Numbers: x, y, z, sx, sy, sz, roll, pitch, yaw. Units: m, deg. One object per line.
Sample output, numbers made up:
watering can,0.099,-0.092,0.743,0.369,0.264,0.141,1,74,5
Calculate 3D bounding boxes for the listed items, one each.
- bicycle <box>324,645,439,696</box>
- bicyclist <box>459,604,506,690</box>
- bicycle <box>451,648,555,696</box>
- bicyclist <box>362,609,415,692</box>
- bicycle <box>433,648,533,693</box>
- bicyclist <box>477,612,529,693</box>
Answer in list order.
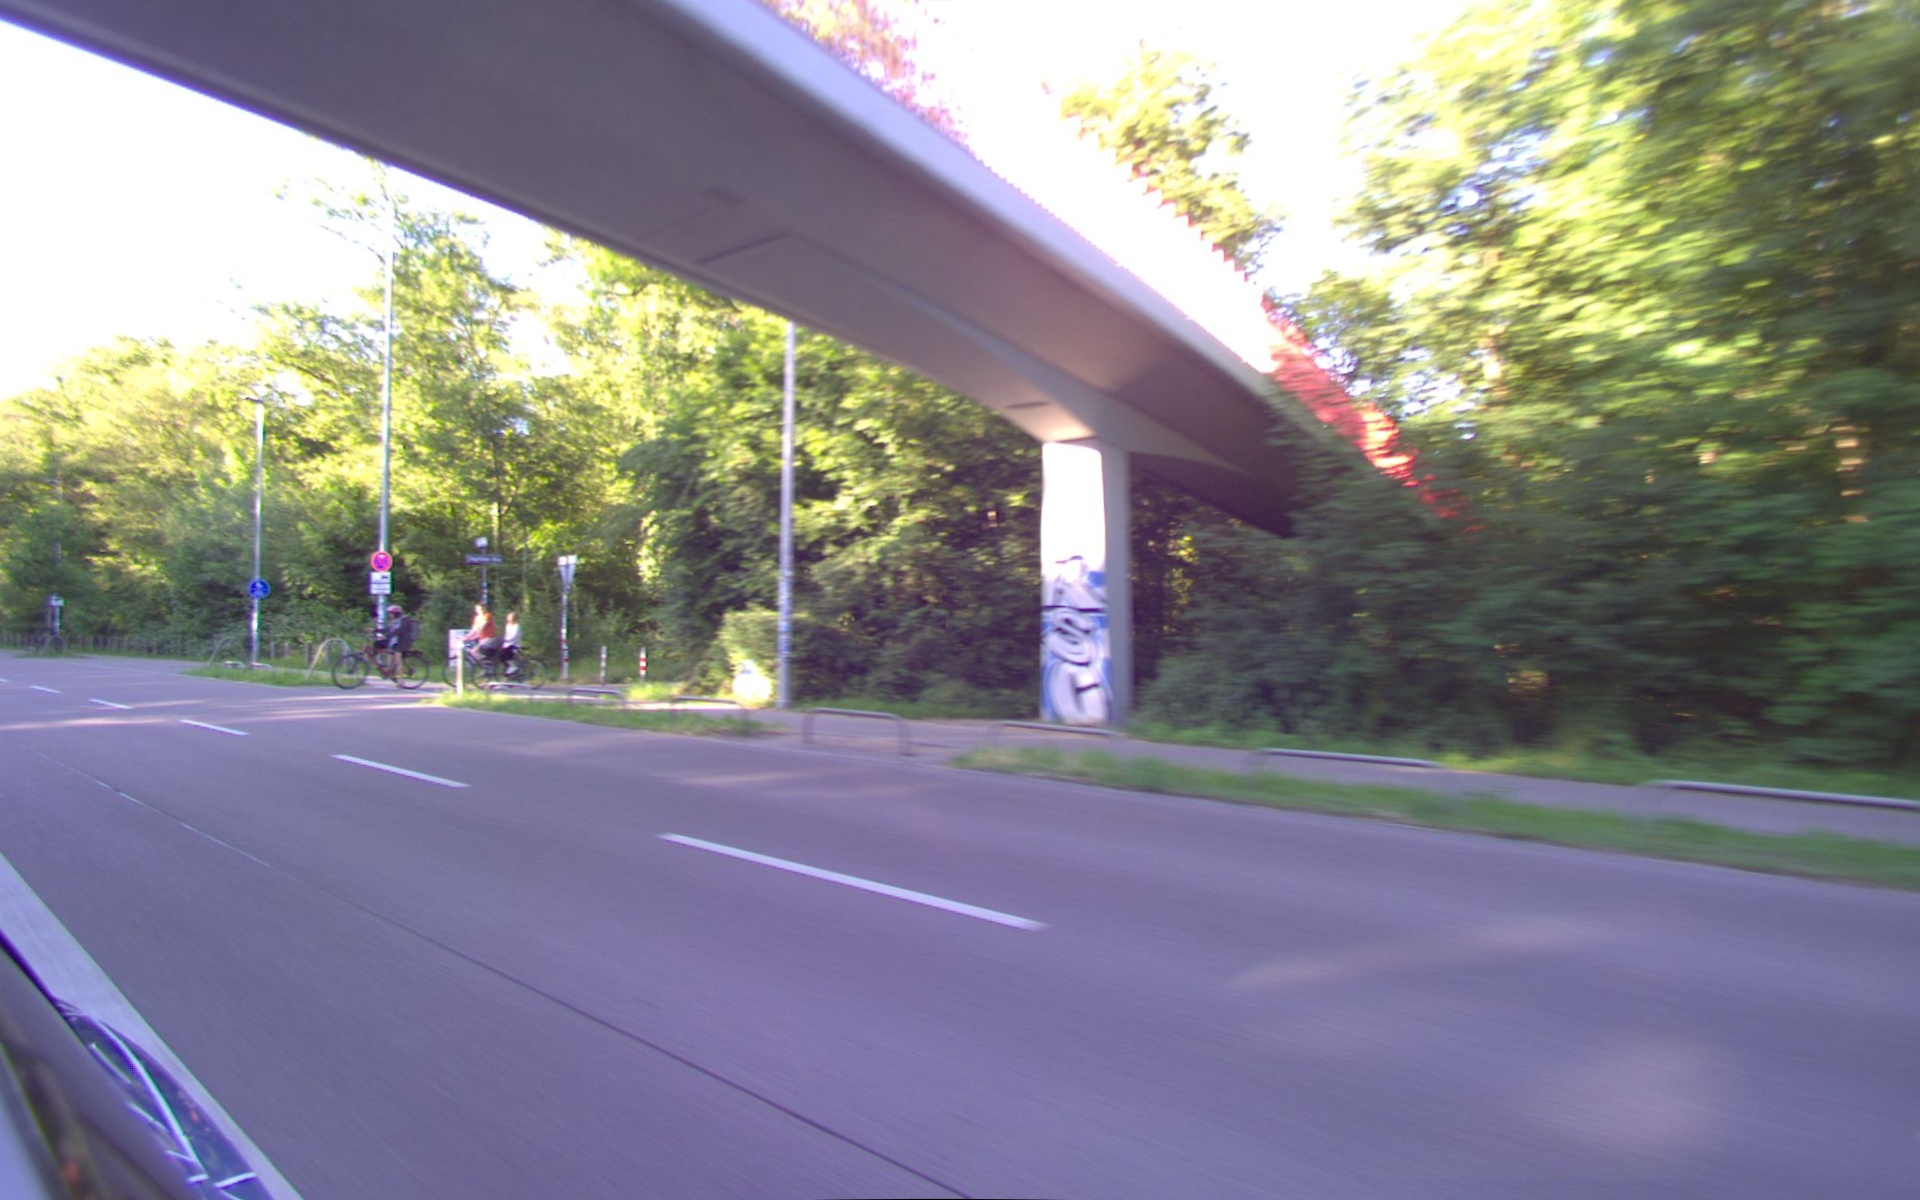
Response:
bicycle,-11.809,1.414,20.691,1.903,0.941,0.825,1,-2,-41
bicyclist,-10.845,1.052,22.984,0.785,1.915,0.818,1,-2,-41
bicycle,-9.935,1.544,22.049,1.903,0.941,0.825,1,-2,-41
bicyclist,-11.735,1.026,20.779,0.785,1.656,0.842,0,-2,-41
bicycle,-10.820,1.577,23.001,1.903,0.941,0.825,2,-2,-41
bicyclist,-9.964,1.121,22.051,0.785,1.710,0.946,1,-2,-41
